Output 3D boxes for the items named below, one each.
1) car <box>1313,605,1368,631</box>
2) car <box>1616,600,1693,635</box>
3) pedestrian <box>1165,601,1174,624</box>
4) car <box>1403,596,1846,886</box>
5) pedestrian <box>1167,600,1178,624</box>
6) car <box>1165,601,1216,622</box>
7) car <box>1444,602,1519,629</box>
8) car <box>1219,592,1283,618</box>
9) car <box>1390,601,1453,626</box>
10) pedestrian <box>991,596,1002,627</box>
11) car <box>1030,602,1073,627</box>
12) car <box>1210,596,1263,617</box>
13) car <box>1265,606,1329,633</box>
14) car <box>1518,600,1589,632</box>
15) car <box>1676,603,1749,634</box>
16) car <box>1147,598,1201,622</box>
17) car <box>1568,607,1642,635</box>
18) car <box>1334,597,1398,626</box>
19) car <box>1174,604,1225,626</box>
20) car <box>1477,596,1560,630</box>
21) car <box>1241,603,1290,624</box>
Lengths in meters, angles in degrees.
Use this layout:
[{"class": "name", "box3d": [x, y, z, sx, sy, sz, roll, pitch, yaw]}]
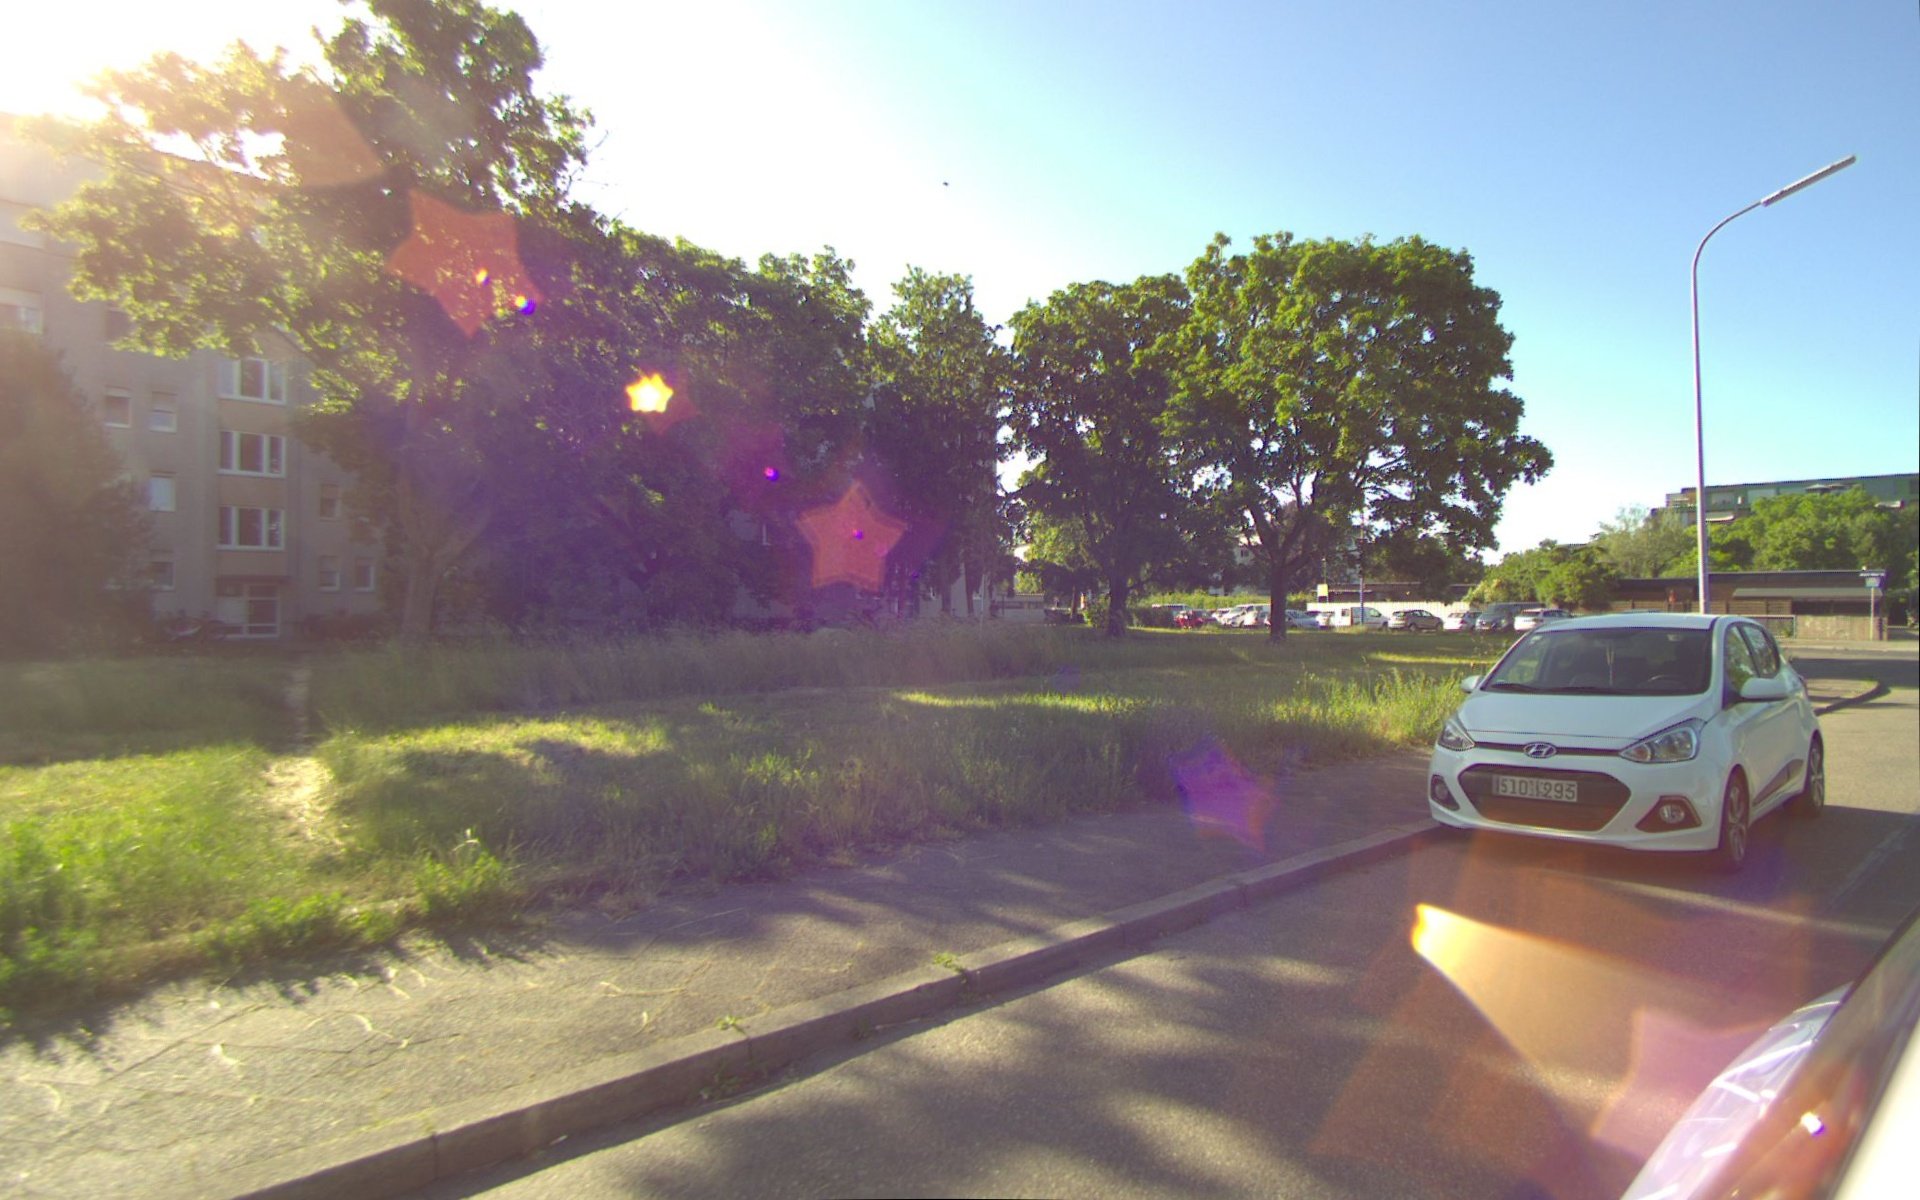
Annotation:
[{"class": "car", "box3d": [27.628, 1.291, 73.503, 3.453, 1.506, 1.732, -4, 4, -22]}, {"class": "car", "box3d": [36.547, 0.871, 53.275, 3.921, 1.632, 1.820, -2, 1, -30]}, {"class": "pedestrian", "box3d": [14.250, 0.863, 68.871, 0.355, 1.522, 0.502, 2, 0, -23]}, {"class": "car", "box3d": [4.833, 0.756, 7.169, 3.677, 1.498, 1.723, 0, -2, -42]}, {"class": "pedestrian", "box3d": [14.597, 0.813, 69.442, 0.473, 1.584, 0.598, 2, 0, -10]}, {"class": "car", "box3d": [20.853, 1.010, 91.635, 4.078, 1.727, 1.888, -2, 1, -18]}, {"class": "car", "box3d": [32.347, 0.922, 62.732, 4.064, 1.511, 1.929, -2, 1, -22]}, {"class": "car", "box3d": [23.942, 0.390, 83.164, 4.705, 1.945, 2.086, -2, 0, -22]}, {"class": "car", "box3d": [30.598, 0.894, 67.109, 3.748, 1.552, 1.792, -1, 0, -26]}, {"class": "pedestrian", "box3d": [2.019, 0.624, 56.227, 0.481, 1.683, 0.537, -2, 0, -10]}, {"class": "car", "box3d": [6.349, 0.992, 70.518, 1.697, 1.616, 3.820, -1, 0, -16]}, {"class": "car", "box3d": [23.450, 0.517, 85.790, 3.916, 1.602, 1.888, -2, 1, -16]}, {"class": "car", "box3d": [20.757, 1.165, 62.457, 1.700, 1.562, 3.796, -1, 1, -22]}, {"class": "car", "box3d": [33.862, 0.908, 57.754, 3.549, 1.627, 1.736, -2, 1, -23]}, {"class": "car", "box3d": [37.938, 0.899, 51.021, 3.625, 1.477, 1.636, -1, 0, -30]}, {"class": "car", "box3d": [19.842, 0.885, 93.961, 4.399, 2.001, 2.004, -2, 1, -17]}, {"class": "car", "box3d": [35.592, 1.145, 55.832, 3.549, 1.361, 1.736, -2, 1, -23]}, {"class": "car", "box3d": [28.620, 0.795, 71.351, 3.908, 1.803, 1.928, -2, 0, -24]}, {"class": "car", "box3d": [16.960, 1.031, 71.841, 1.547, 1.464, 3.796, -1, 1, -22]}, {"class": "car", "box3d": [33.203, 0.736, 60.163, 4.788, 1.940, 2.003, -1, 0, -27]}, {"class": "car", "box3d": [24.313, 1.056, 80.602, 3.453, 1.464, 1.639, -2, 1, -25]}]
